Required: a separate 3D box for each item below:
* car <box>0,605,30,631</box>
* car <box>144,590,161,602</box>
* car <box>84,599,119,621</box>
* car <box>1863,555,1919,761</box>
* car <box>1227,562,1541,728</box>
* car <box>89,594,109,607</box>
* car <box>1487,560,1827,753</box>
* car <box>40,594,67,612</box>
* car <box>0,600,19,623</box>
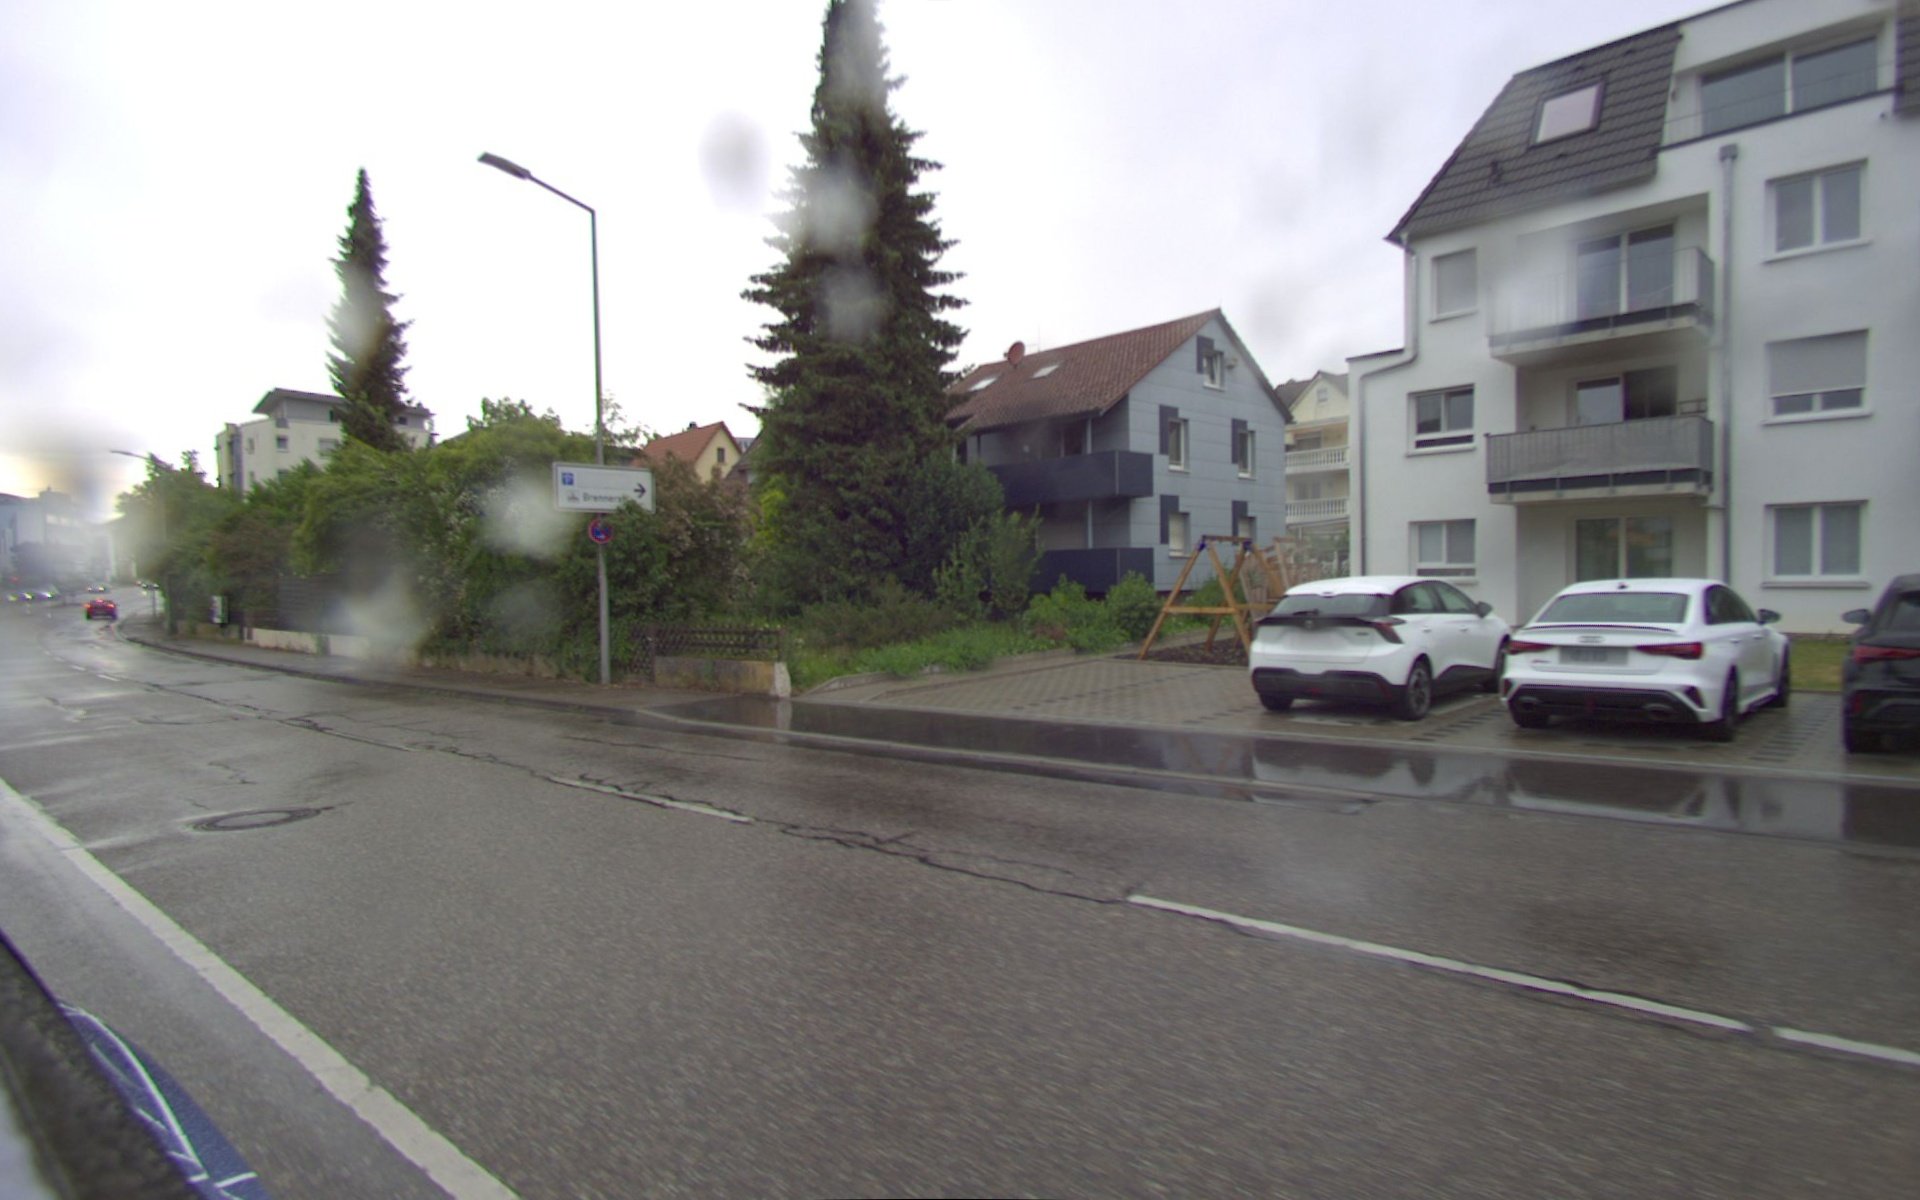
[{"bbox_3d":[-72.274,1.379,77.195,1.826,1.895,4.123,-1,0,-45],"label":"car"},{"bbox_3d":[-125.364,-0.628,157.212,1.823,1.777,4.131,-1,0,-36],"label":"car"},{"bbox_3d":[-66.575,0.789,78.526,1.968,1.627,4.007,-1,0,-39],"label":"car"},{"bbox_3d":[8.798,0.346,8.286,3.979,1.453,1.814,-3,1,-44],"label":"car"},{"bbox_3d":[5.155,0.407,12.046,4.059,1.557,2.001,-3,1,-44],"label":"car"},{"bbox_3d":[-122.418,0.020,143.879,1.823,1.777,4.131,-1,0,-36],"label":"car"},{"bbox_3d":[7.048,0.407,10.062,4.097,1.453,1.892,-3,1,-42],"label":"car"},{"bbox_3d":[-91.266,0.311,101.922,1.824,1.777,4.128,-1,0,-39],"label":"car"},{"bbox_3d":[-77.503,0.962,81.939,1.826,1.777,4.124,-1,0,-44],"label":"car"}]
